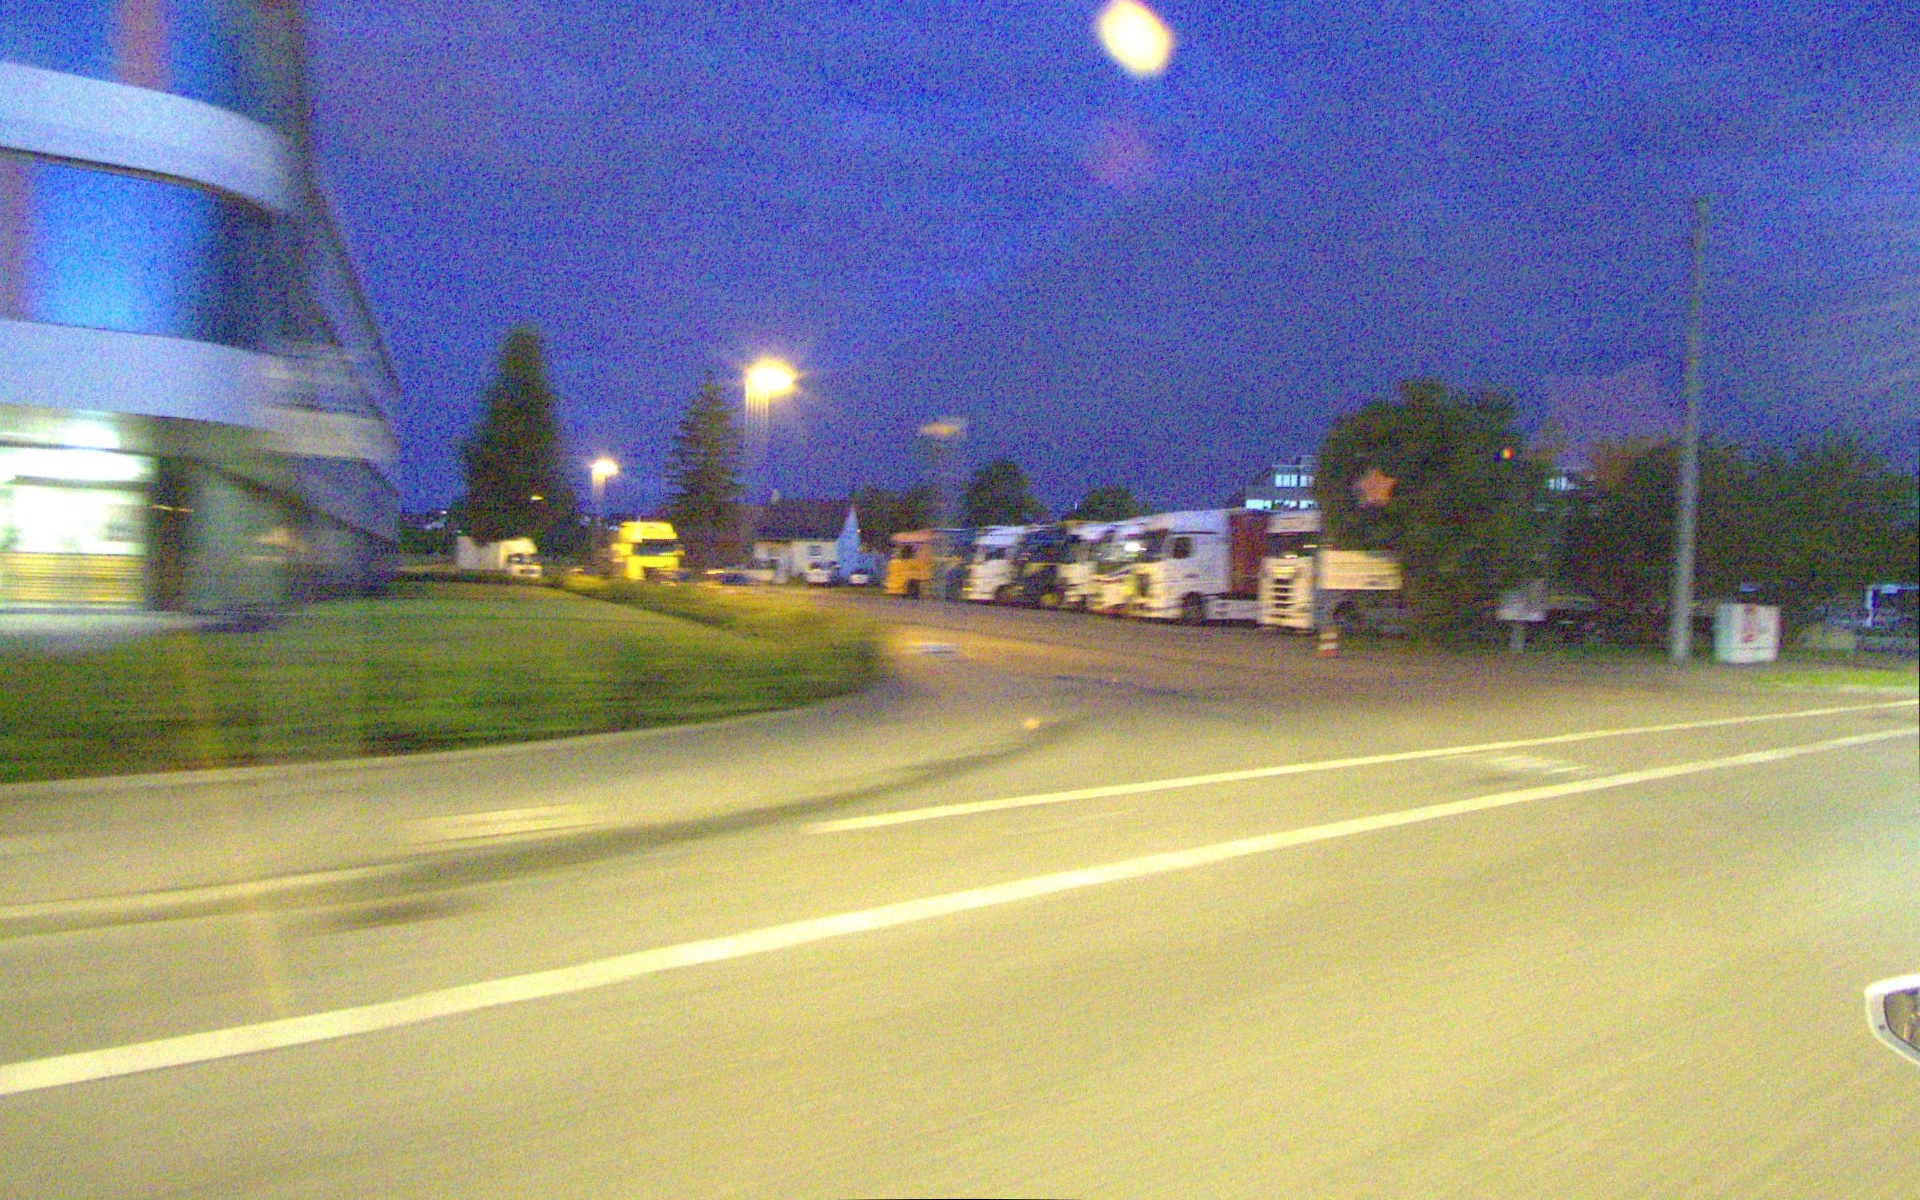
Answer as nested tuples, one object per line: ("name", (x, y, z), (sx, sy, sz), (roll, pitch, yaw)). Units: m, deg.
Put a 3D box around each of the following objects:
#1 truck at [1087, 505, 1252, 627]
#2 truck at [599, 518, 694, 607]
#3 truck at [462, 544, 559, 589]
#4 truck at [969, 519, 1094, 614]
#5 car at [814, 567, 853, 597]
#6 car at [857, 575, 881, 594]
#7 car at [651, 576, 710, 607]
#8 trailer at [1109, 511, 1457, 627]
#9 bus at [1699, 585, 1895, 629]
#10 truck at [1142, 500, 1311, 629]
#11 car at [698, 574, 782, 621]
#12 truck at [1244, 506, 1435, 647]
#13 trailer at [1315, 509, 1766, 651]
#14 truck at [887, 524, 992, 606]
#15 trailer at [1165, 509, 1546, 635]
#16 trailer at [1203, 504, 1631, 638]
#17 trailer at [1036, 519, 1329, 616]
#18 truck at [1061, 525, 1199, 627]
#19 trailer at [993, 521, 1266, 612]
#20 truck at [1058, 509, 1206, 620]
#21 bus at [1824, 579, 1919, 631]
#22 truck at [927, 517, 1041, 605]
("truck", (8.117, -1.288, 39.328), (5.465, 4.416, 3.063), (2, 2, -9))
("truck", (-18.621, -2.039, 58.978), (3.531, 4.611, 12.510), (1, 1, -26))
("truck", (-38.314, -2.856, 85.422), (9.541, 3.667, 3.354), (2, 2, 38))
("truck", (3.525, -1.661, 50.217), (5.469, 4.416, 3.060), (1, 2, -12))
("car", (-9.344, -1.332, 74.400), (1.960, 2.041, 4.654), (1, 1, 4))
("car", (-6.754, -1.149, 74.674), (1.645, 1.298, 3.528), (1, 1, -4))
("car", (-13.081, -0.414, 46.872), (1.675, 1.385, 3.966), (1, 1, -31))
("trailer", (14.193, -1.299, 44.294), (14.731, 4.416, 3.062), (2, 2, -10))
("bus", (61.847, 0.483, 74.378), (12.033, 3.023, 2.953), (1, 1, -1))
("truck", (9.341, -1.241, 35.579), (4.845, 4.204, 3.063), (2, 2, -8))
("car", (-8.258, -0.112, 37.452), (1.869, 1.573, 3.965), (1, 2, -31))
("truck", (11.540, -0.707, 30.794), (4.428, 3.986, 3.058), (1, 2, -15))
("trailer", (19.016, -0.534, 32.777), (14.751, 3.985, 3.058), (1, 2, -15))
("truck", (-1.228, -1.986, 57.994), (5.469, 4.416, 3.060), (1, 2, -12))
("trailer", (15.912, -1.059, 40.619), (14.731, 4.416, 3.062), (2, 2, -9))
("trailer", (16.526, -0.981, 36.600), (14.726, 4.204, 3.063), (2, 2, -8))
("trailer", (11.500, -1.608, 51.959), (14.741, 4.416, 3.060), (2, 2, -12))
("truck", (7.886, -1.112, 46.970), (5.469, 4.416, 3.060), (1, 2, -12))
("trailer", (9.397, -1.792, 55.745), (14.741, 4.416, 3.060), (2, 2, -12))
("truck", (7.303, -1.487, 43.141), (5.465, 4.416, 3.062), (2, 2, -9))
("bus", (62.737, 0.345, 65.381), (12.452, 3.247, 3.015), (1, 1, -13))
("truck", (1.250, -2.051, 53.935), (5.469, 4.416, 3.060), (1, 2, -12))
